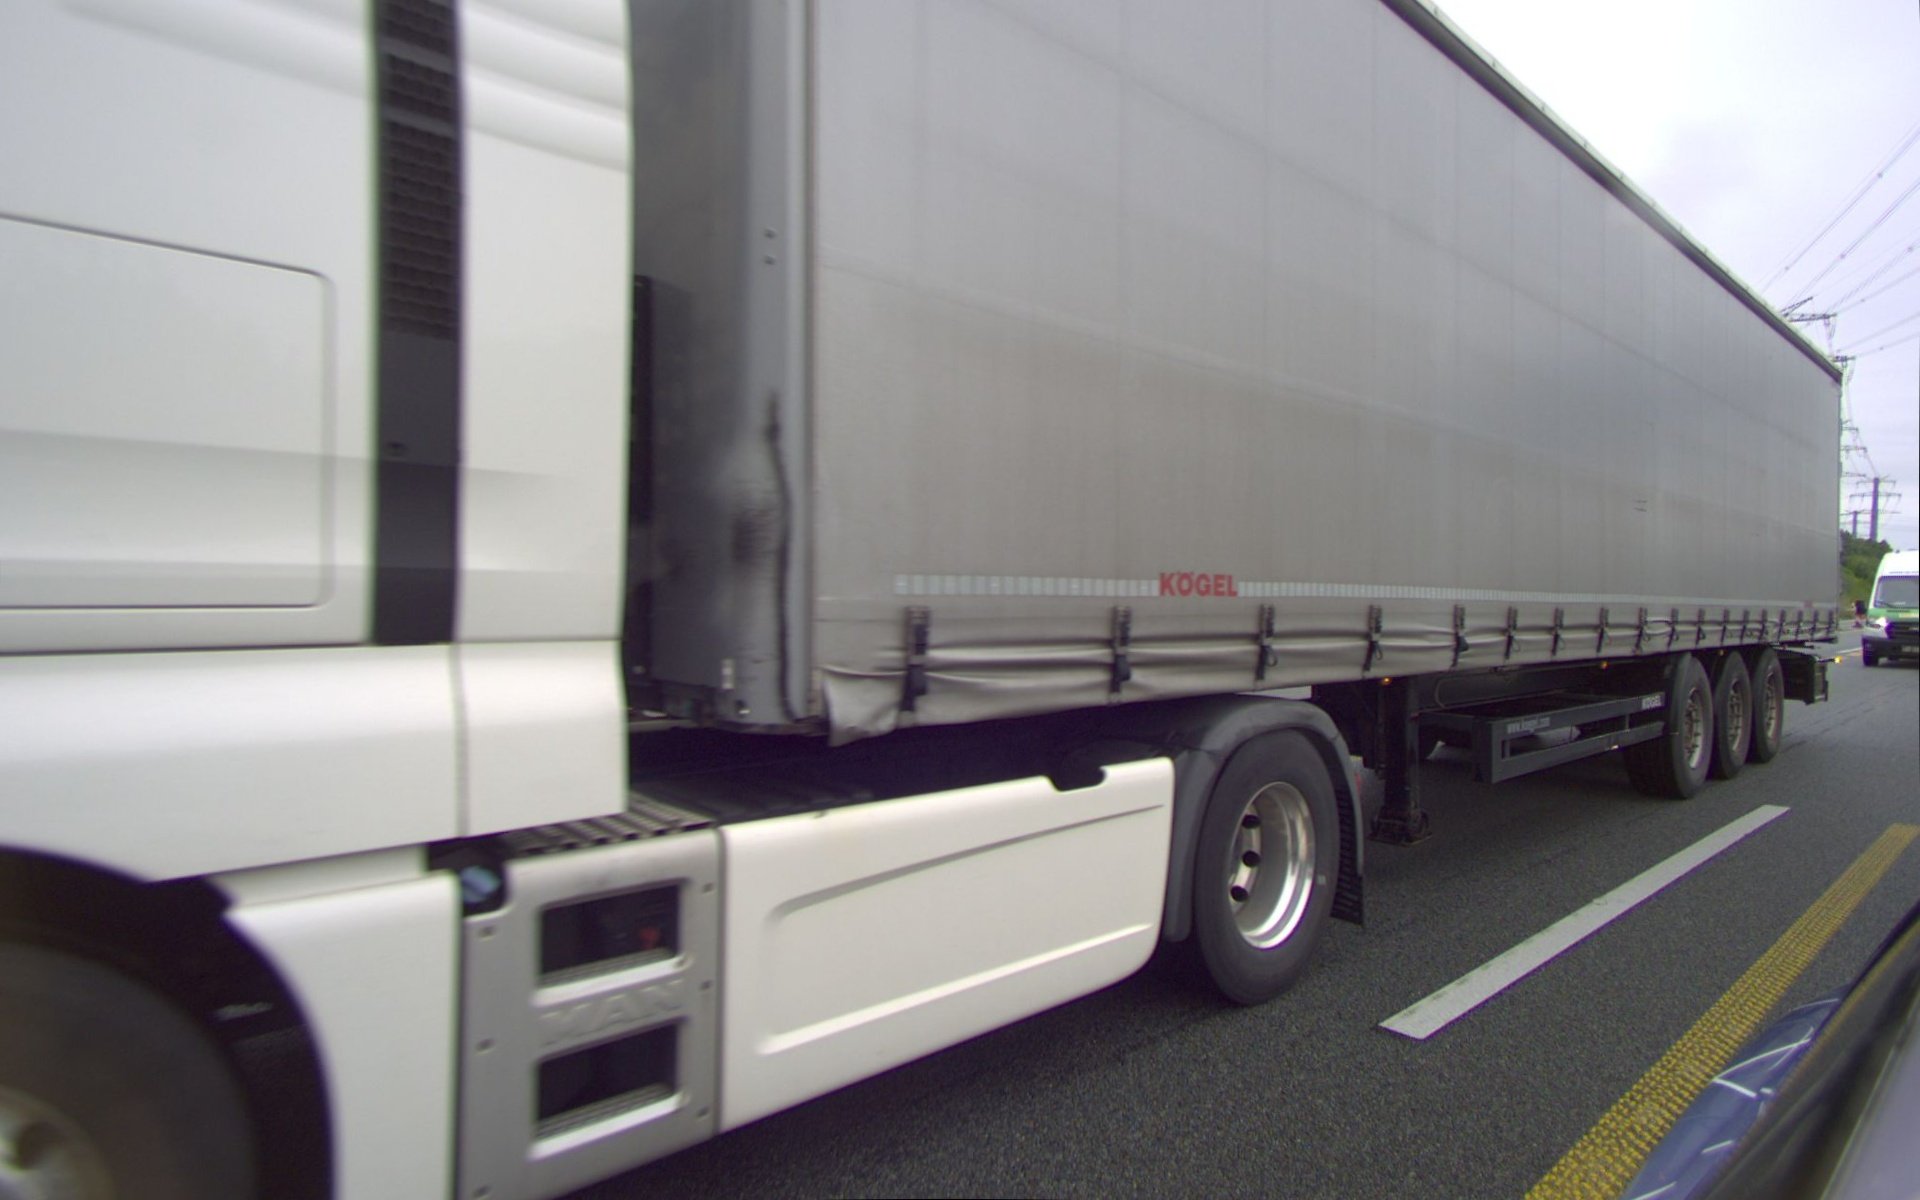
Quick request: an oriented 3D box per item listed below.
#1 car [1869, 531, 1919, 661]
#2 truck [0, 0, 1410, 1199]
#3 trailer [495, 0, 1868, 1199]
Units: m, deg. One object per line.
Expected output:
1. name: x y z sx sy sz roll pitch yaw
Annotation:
1. car: 22.976 -0.083 23.600 5.656 2.817 1.997 0 1 -42
2. truck: -1.176 -0.718 3.300 5.591 4.190 2.711 0 1 -41
3. trailer: 3.988 -0.728 7.726 13.491 4.198 2.711 0 1 -41
